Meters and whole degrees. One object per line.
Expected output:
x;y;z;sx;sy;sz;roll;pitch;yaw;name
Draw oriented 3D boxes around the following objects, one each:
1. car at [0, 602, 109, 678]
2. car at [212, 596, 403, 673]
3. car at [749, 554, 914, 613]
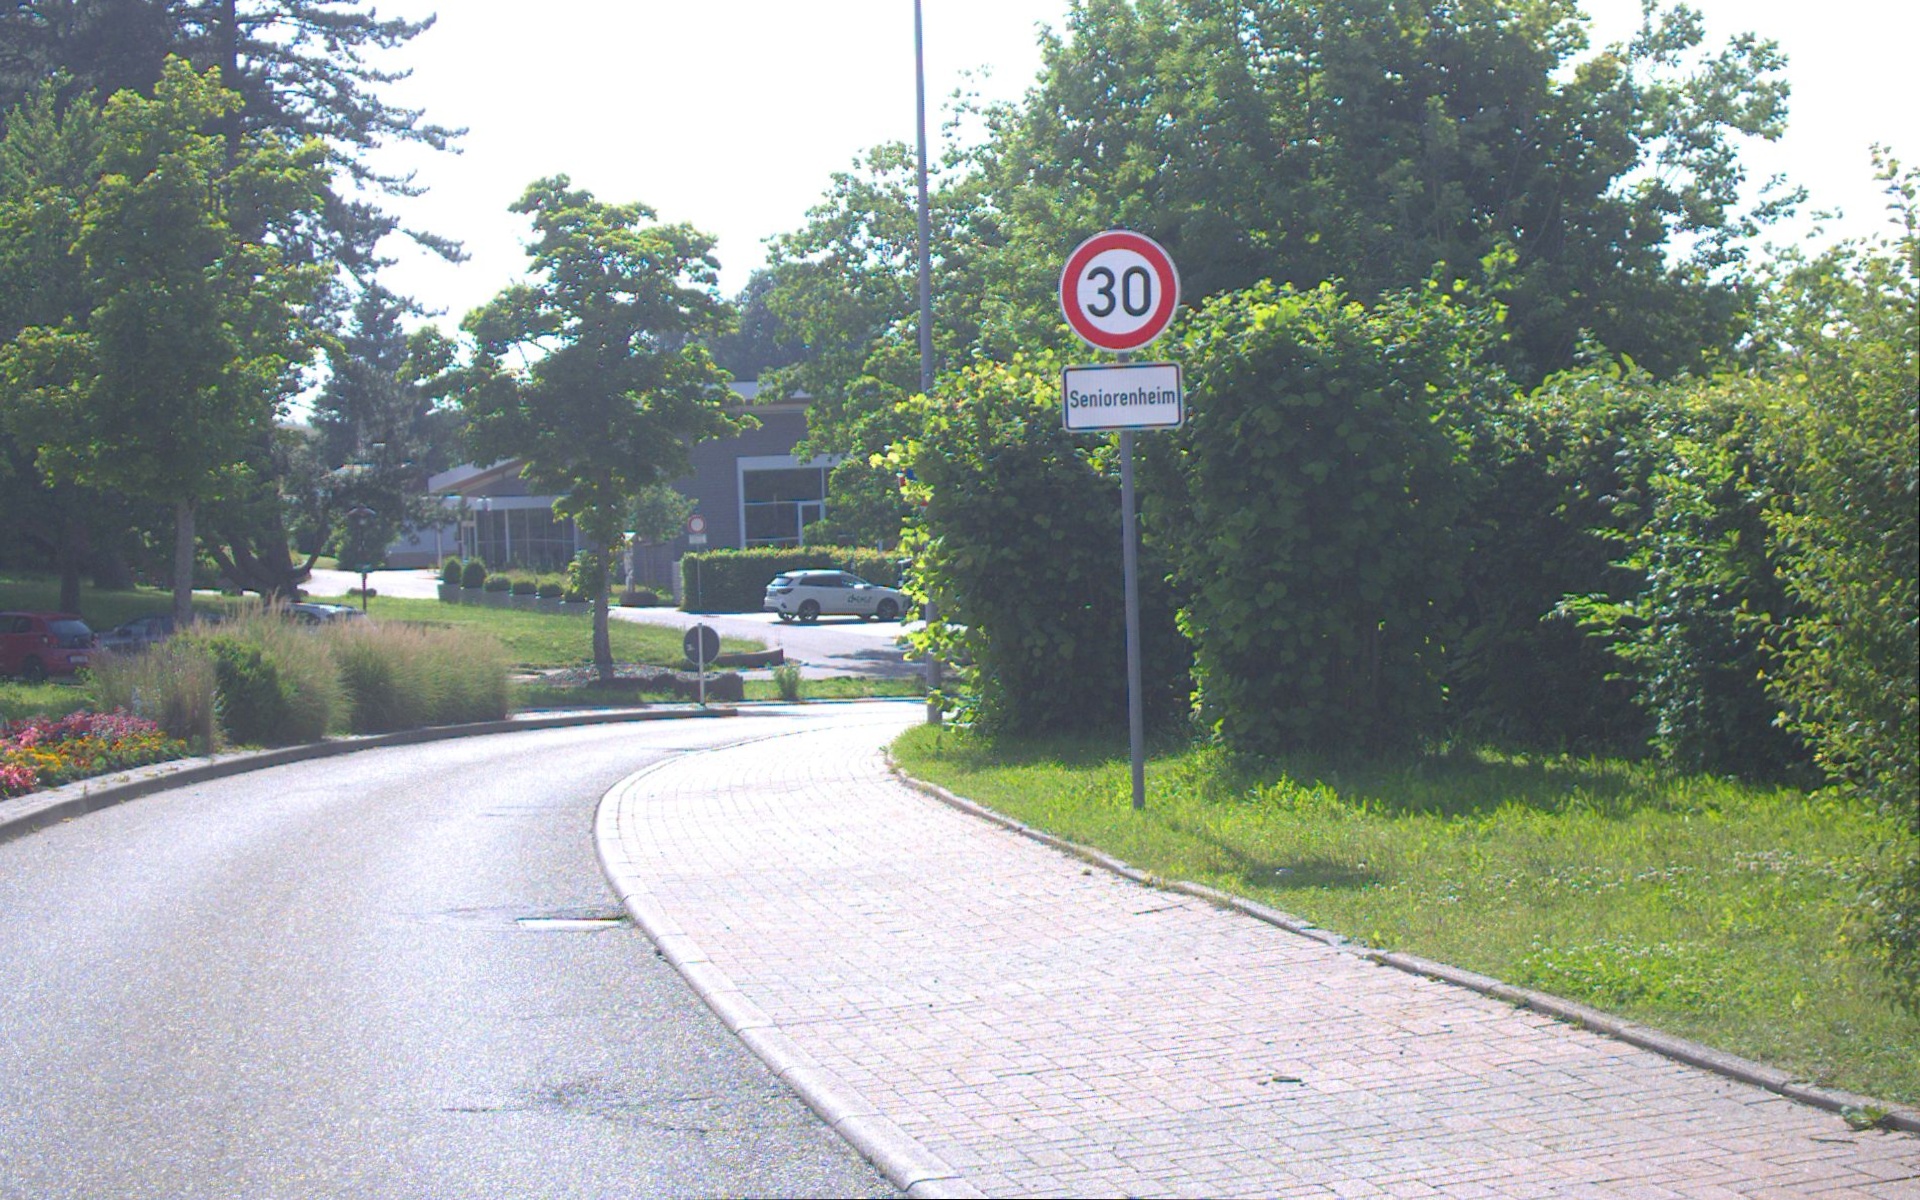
-19.125;0.800;69.888;3.203;1.465;1.773;1;0;30;car
-14.447;0.748;76.069;3.935;1.604;1.773;1;0;31;car
-4.005;-0.524;107.136;4.714;1.528;2.001;-2;5;-25;car
